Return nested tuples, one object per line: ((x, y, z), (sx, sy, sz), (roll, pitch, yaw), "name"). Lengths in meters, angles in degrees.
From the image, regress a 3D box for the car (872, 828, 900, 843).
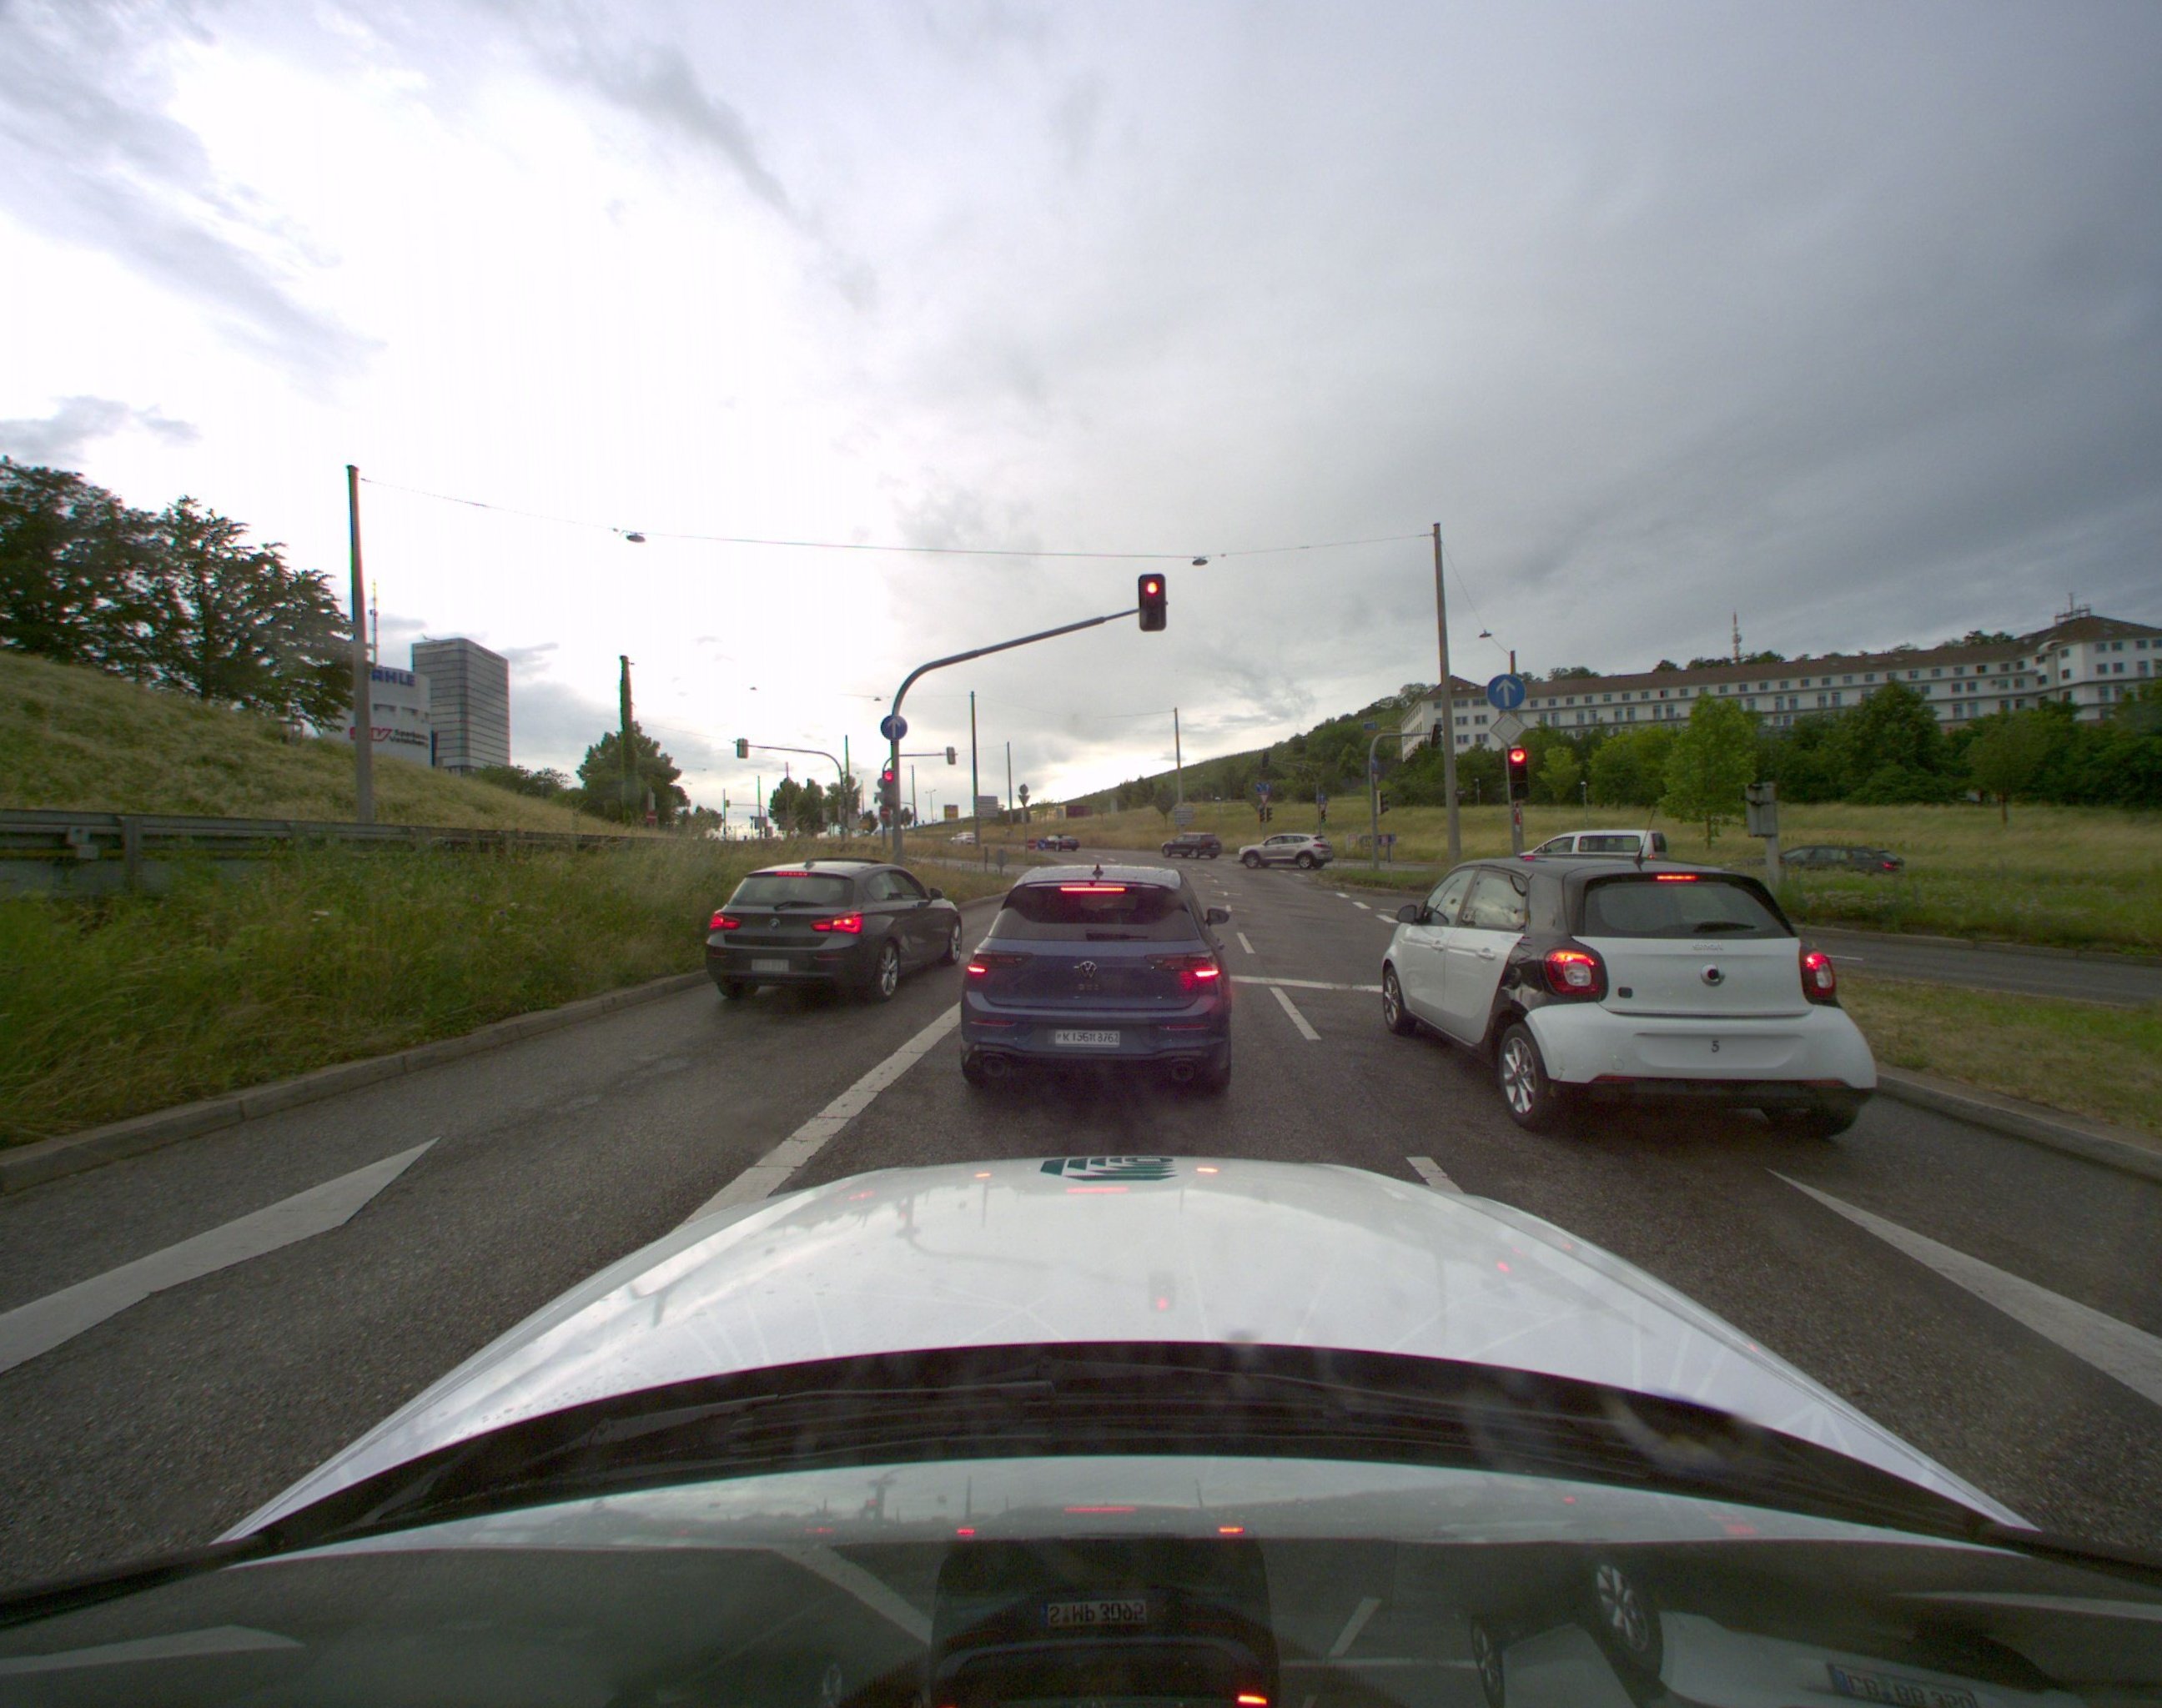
((-25.662, -2.453, 107.090), (2.143, 1.794, 4.692), (0, -1, -32), "car")

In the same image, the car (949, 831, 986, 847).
((-11.660, -1.497, 83.429), (2.008, 1.477, 4.373), (0, -1, -35), "car")

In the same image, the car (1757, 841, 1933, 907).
((25.101, 0.644, 26.853), (2.010, 2.014, 3.954), (0, -1, -38), "car")

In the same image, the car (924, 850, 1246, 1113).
((0.245, 0.718, 6.511), (1.815, 1.460, 3.816), (-1, 0, 7), "car")

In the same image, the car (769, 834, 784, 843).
((-62.546, -3.148, 167.273), (2.008, 1.659, 4.498), (1, 0, -33), "car")

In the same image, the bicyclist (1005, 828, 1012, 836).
((-9.146, -2.767, 102.707), (0.526, 1.046, 0.575), (2, 0, -31), "bicyclist")

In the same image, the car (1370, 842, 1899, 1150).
((3.346, 0.725, 5.783), (1.649, 1.503, 3.456), (-1, -1, 6), "car")

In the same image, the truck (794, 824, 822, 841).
((-50.524, -3.954, 150.506), (3.281, 3.074, 6.111), (2, 0, -35), "truck")

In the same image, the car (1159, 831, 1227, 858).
((7.361, -0.590, 53.739), (2.008, 1.637, 4.373), (0, -1, -35), "car")

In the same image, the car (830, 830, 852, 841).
((-37.620, -2.896, 127.639), (2.008, 1.659, 4.497), (0, -1, -33), "car")

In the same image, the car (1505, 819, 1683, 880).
((16.955, -0.086, 27.127), (1.831, 1.850, 4.643), (0, -1, -39), "car")

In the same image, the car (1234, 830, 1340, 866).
((9.801, -0.238, 38.931), (4.466, 1.620, 2.013), (-1, -1, 34), "car")

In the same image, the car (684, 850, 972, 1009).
((-2.656, 0.738, 9.642), (1.693, 1.460, 4.122), (-1, -1, 7), "car")

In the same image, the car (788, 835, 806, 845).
((-49.069, -2.385, 140.738), (2.008, 1.659, 4.308), (0, -1, -33), "car")

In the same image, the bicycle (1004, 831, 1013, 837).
((-9.116, -2.482, 102.655), (0.521, 0.775, 1.605), (2, 0, -31), "bicycle")

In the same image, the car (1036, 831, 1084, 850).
((-1.800, -1.110, 68.406), (2.008, 1.477, 4.455), (0, -1, -33), "car")
